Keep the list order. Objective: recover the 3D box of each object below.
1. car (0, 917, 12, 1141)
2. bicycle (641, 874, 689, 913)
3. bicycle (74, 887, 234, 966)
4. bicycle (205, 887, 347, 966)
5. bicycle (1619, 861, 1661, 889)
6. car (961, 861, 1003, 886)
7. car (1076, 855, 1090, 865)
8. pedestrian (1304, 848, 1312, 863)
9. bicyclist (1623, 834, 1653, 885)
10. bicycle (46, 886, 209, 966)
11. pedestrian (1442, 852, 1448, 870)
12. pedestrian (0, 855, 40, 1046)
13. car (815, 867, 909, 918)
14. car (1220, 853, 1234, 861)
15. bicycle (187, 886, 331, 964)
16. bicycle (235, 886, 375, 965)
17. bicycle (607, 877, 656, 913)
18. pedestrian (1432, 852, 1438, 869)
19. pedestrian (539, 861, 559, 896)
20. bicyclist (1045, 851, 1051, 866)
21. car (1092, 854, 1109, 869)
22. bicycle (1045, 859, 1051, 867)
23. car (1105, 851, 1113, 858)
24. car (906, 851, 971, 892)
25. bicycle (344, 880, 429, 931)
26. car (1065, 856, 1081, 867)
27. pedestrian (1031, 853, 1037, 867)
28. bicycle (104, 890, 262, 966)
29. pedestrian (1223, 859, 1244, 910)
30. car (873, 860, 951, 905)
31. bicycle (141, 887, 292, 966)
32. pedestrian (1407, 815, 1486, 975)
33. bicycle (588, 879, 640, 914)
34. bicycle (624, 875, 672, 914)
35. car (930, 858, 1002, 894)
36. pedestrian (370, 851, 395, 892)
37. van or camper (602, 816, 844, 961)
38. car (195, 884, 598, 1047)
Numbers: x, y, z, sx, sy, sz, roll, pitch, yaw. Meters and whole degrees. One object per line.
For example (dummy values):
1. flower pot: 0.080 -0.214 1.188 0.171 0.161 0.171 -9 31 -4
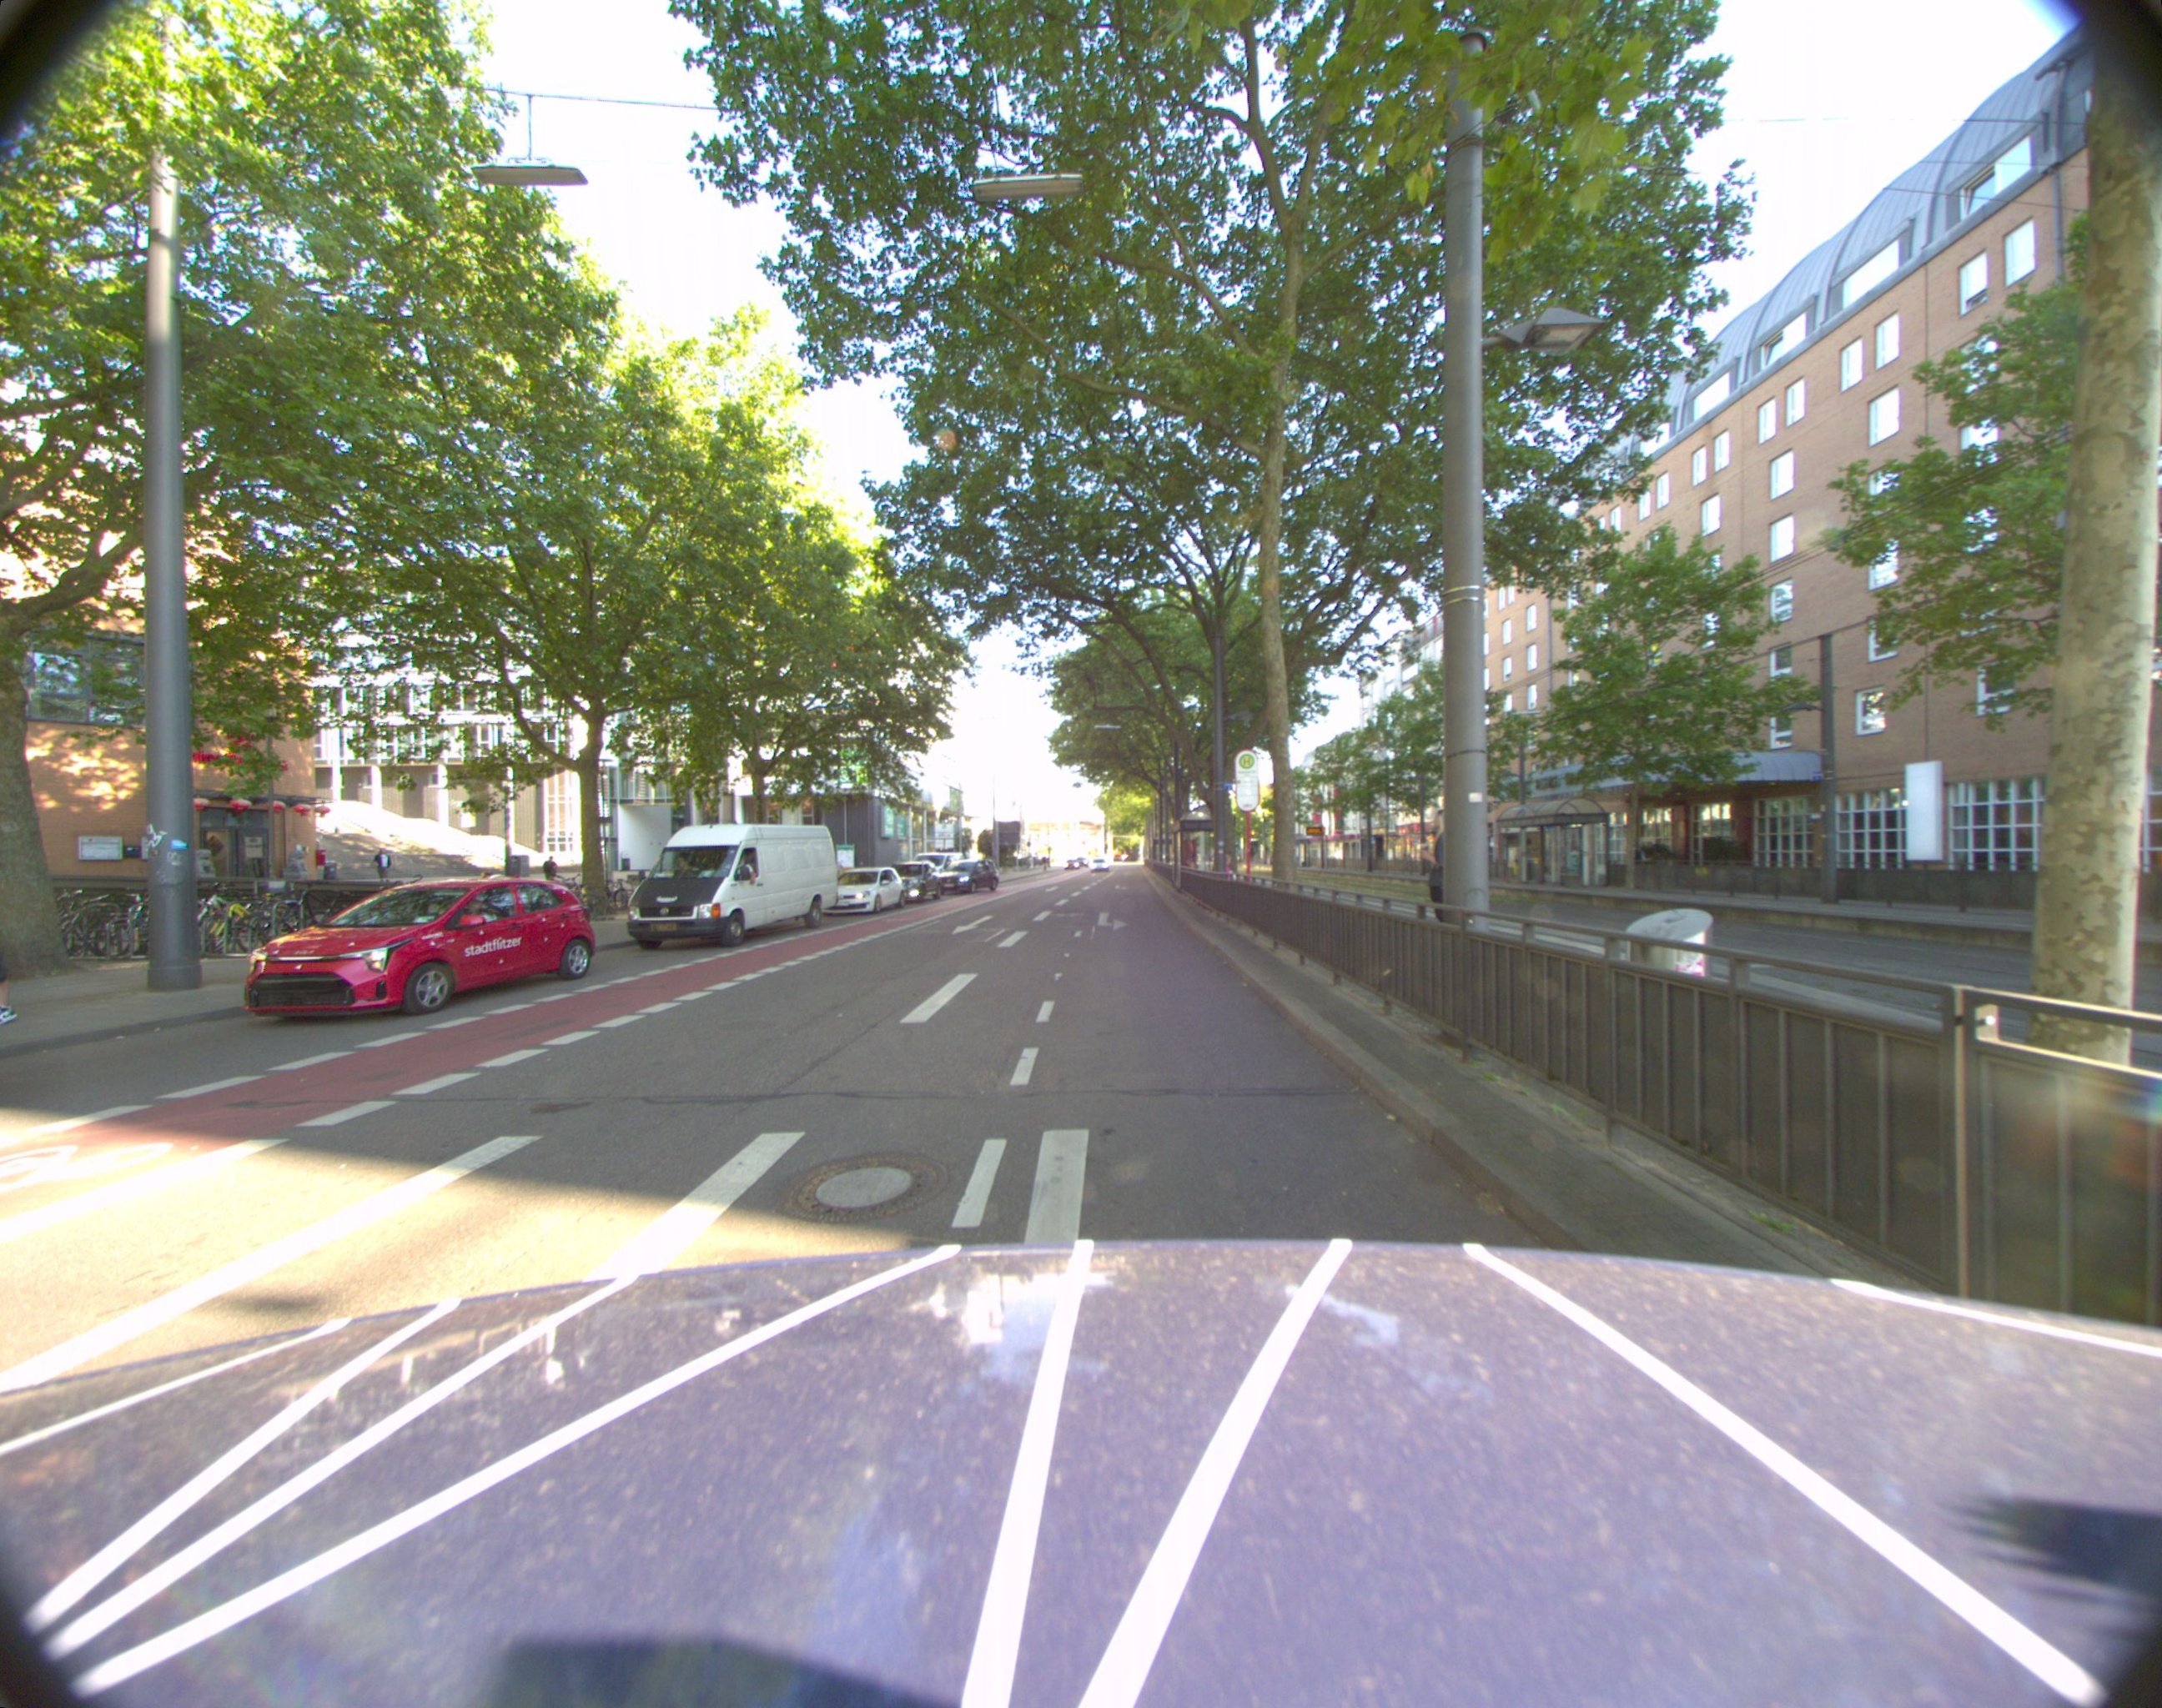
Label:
1. car: -8.014 1.169 2.928 1.743 1.476 4.251 -1 0 0
2. bicycle: -13.568 1.268 24.838 0.522 1.187 1.850 0 0 1
3. bicycle: -15.921 1.203 13.132 0.458 1.187 1.850 0 0 1
4. bicycle: -13.818 1.204 13.131 0.448 1.187 1.850 0 0 1
5. bicycle: 20.943 0.759 28.514 0.451 0.998 1.753 -1 0 6
6. car: -6.001 1.176 46.611 1.801 1.369 4.001 0 0 3
7. car: 0.329 0.919 116.726 1.801 1.438 4.001 0 0 3
8. pedestrian: 30.694 0.156 102.803 0.806 2.002 0.763 -1 1 1
9. bicyclist: 20.858 0.195 28.469 0.572 1.893 0.813 0 1 6
10. bicycle: -16.384 1.198 13.135 0.435 1.187 1.850 0 0 1
11. pedestrian: 31.162 0.579 65.104 0.438 1.511 0.659 0 1 23
12. pedestrian: -10.703 0.934 7.147 0.643 1.834 0.813 -1 0 -5
13. car: -7.025 1.188 24.820 1.682 1.420 4.001 -1 0 3
14. car: 26.931 0.513 140.278 1.998 1.510 4.000 -1 0 2
15. bicycle: -14.323 1.200 13.321 0.484 1.187 1.850 0 0 1
16. bicycle: -13.315 1.194 13.125 0.482 1.187 1.850 0 0 1
17. bicycle: -14.655 1.320 24.815 0.522 1.088 1.797 0 0 1
18. pedestrian: 30.516 0.569 65.483 0.438 1.497 0.659 0 1 23
19. pedestrian: -24.248 1.123 34.610 0.719 1.549 0.639 -1 1 -35
20. bicyclist: -3.900 0.547 89.130 0.673 1.707 0.715 -1 1 1
21. car: 2.063 0.758 79.385 1.733 1.432 4.000 -2 0 2
22. bicycle: -3.891 1.053 89.183 0.580 0.879 1.671 -1 0 1
23. car: 7.743 0.074 207.005 1.998 2.002 4.001 0 0 4
24. car: -7.475 0.862 40.469 1.965 1.983 4.960 -1 0 7
25. bicycle: -17.856 1.286 19.589 0.517 1.187 1.790 0 0 1
26. car: -0.996 0.926 97.155 1.801 1.369 4.001 0 0 3
27. pedestrian: -5.589 0.688 90.131 0.611 1.644 0.583 -1 1 1
28. bicycle: -15.423 1.236 13.130 0.485 1.118 1.850 0 0 1
29. pedestrian: 3.935 0.777 19.619 0.500 1.308 0.419 0 1 9
30. car: -6.711 1.083 30.592 1.818 1.610 4.229 -1 0 5
31. bicycle: -14.840 1.199 13.121 0.447 1.187 1.850 0 0 1
32. pedestrian: 4.455 0.471 9.274 0.607 1.873 0.622 -2 3 -22
33. bicycle: -15.216 1.365 24.791 0.516 1.027 1.850 0 0 1
34. bicycle: -14.111 1.298 24.817 0.495 1.187 1.850 0 0 1
35. car: -5.518 1.015 37.089 1.964 1.610 4.335 -1 0 14
36. pedestrian: -34.645 0.857 37.687 0.878 2.025 0.584 -1 1 -43
37. van or camper: -7.528 0.620 17.071 1.998 2.563 6.575 -2 0 3
38. car: -7.954 1.178 9.369 1.606 1.449 3.651 -1 0 0
